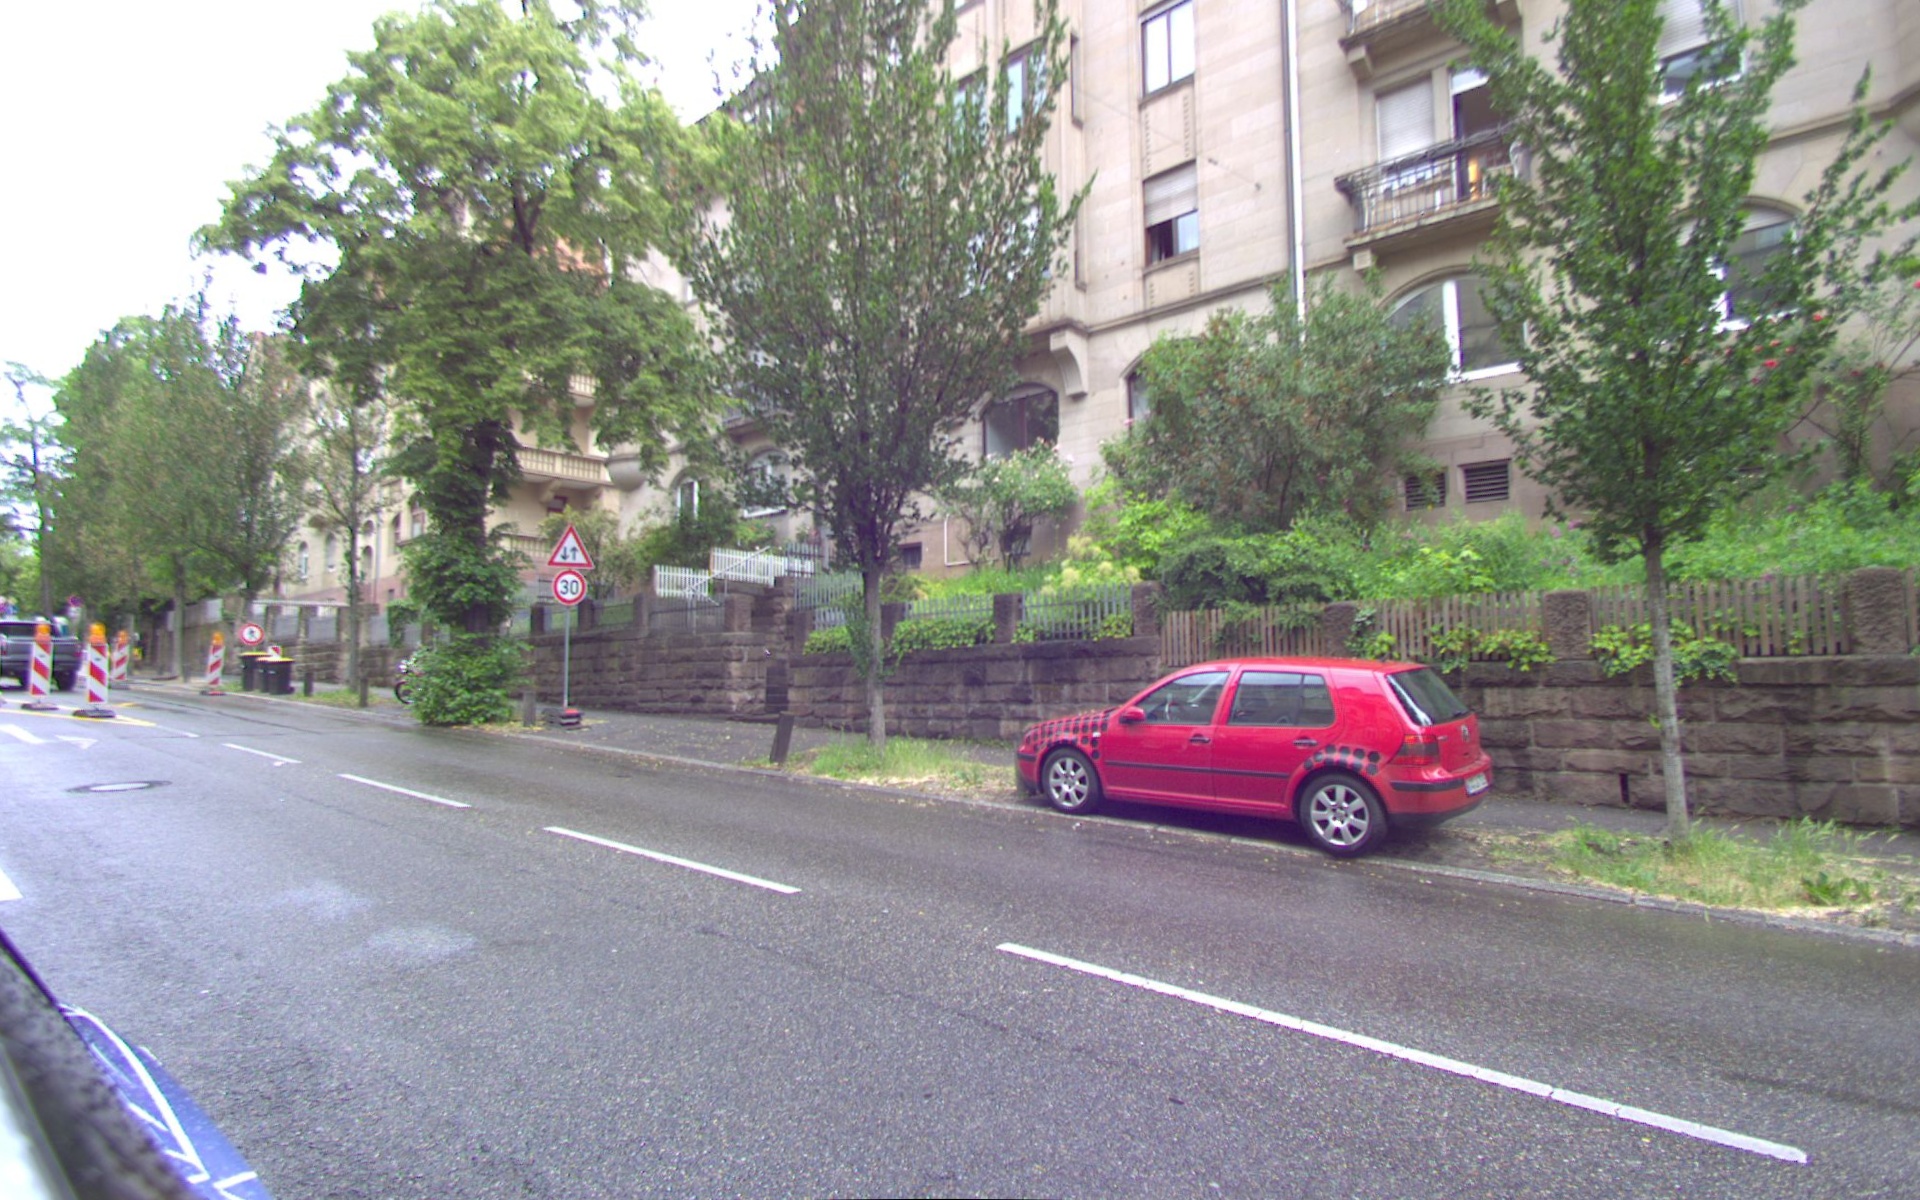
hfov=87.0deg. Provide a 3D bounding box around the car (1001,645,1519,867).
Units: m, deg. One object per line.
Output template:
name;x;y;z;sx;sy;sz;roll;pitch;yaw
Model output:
car;2.421;1.146;8.848;4.062;1.462;1.596;-2;-3;42

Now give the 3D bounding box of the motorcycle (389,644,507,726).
motorcycle;-9.729;1.557;19.154;3.058;1.425;0.792;-2;-2;38

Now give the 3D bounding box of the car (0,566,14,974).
car;-5.370;0.764;4.122;4.520;1.685;1.799;-2;-3;42

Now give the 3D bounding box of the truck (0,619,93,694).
truck;-25.288;1.516;27.312;5.150;1.850;2.049;-2;-6;41
